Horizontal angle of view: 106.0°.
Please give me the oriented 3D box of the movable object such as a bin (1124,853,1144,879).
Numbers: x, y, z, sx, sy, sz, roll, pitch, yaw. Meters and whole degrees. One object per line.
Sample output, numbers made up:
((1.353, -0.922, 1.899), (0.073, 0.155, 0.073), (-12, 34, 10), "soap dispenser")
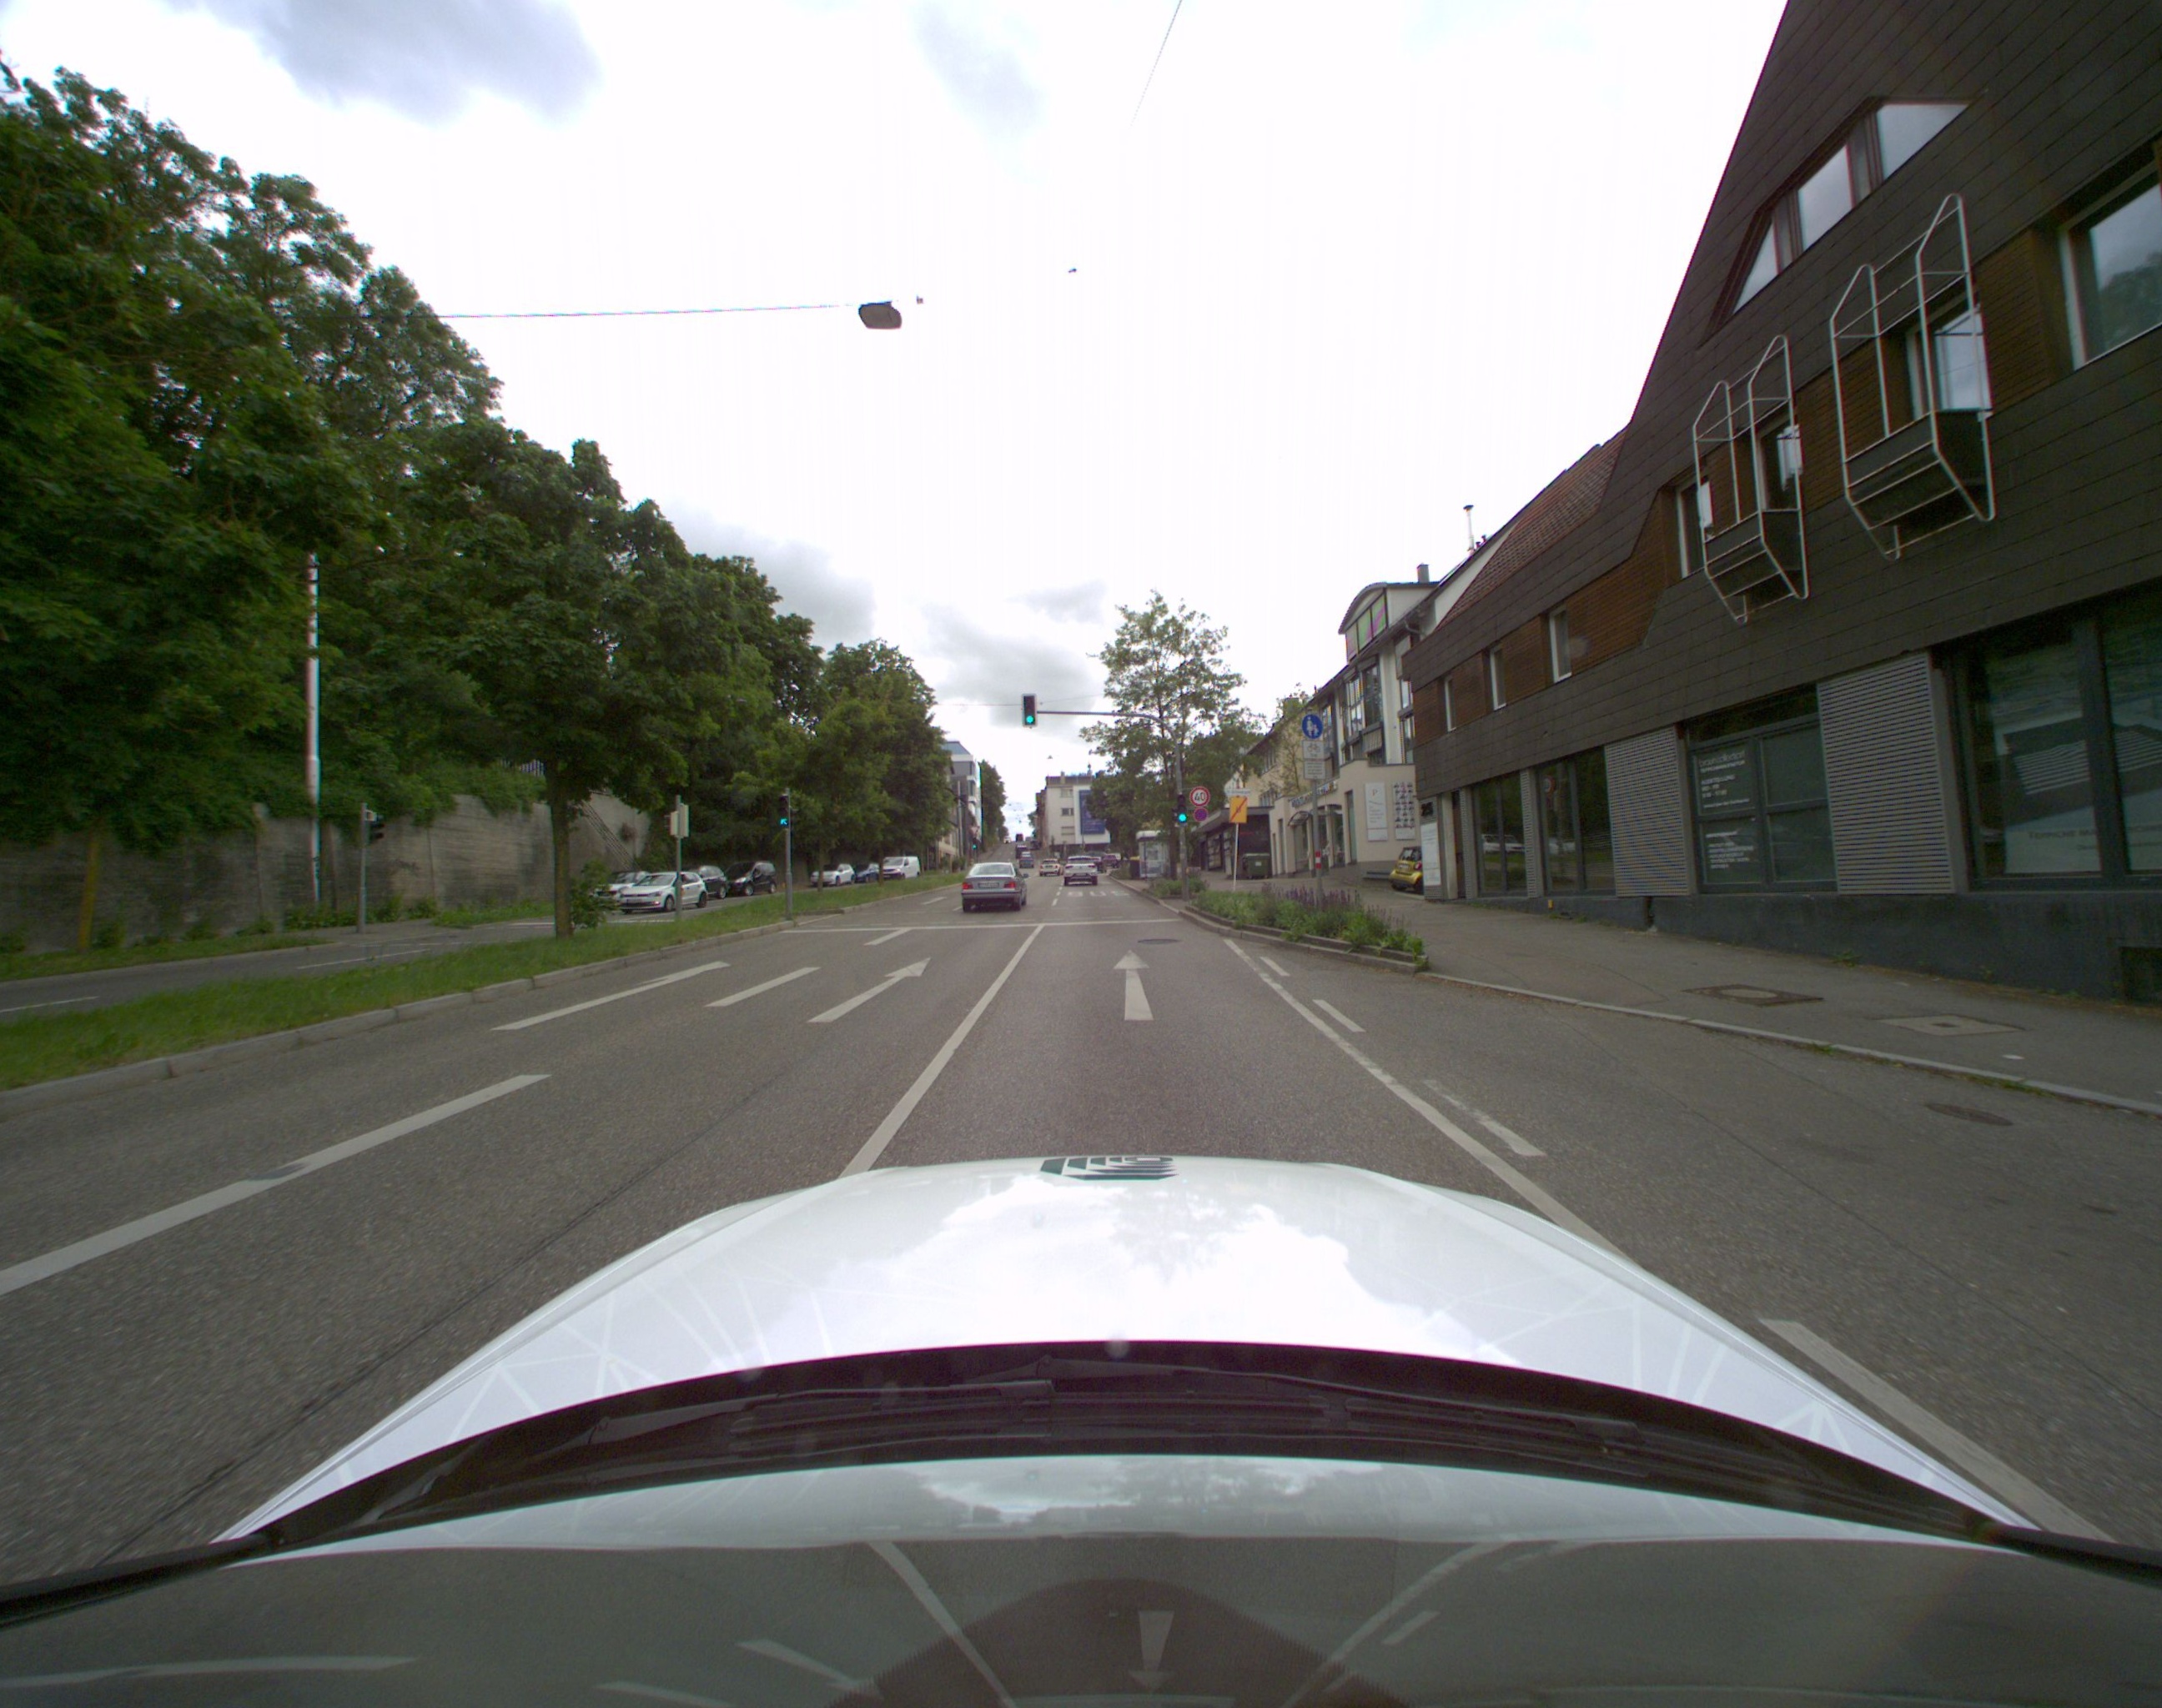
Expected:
((3.143, 0.697, 48.340), (1.082, 1.481, 1.537), (-2, 0, 1), "movable object such as a bin")

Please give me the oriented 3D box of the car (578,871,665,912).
((-18.524, 1.480, 32.994), (1.775, 1.498, 3.096), (-1, 0, -1), "car")

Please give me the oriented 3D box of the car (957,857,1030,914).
((-2.476, 0.845, 23.963), (1.701, 1.464, 3.999), (-1, 0, 0), "car")

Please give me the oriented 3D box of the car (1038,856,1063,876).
((-2.555, 0.976, 69.599), (1.773, 1.579, 4.002), (-1, 0, 2), "car")

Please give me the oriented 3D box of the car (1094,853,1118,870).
((2.314, 0.664, 74.966), (1.785, 1.409, 4.008), (-1, 0, 7), "car")

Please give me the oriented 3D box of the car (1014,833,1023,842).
((-15.515, -4.048, 202.472), (1.990, 2.013, 3.994), (-1, 0, -4), "car")

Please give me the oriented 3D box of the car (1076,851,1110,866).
((1.718, 0.642, 115.806), (4.679, 1.712, 2.316), (2, 3, -4), "car")

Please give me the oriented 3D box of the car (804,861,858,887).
((-16.987, 1.355, 55.486), (1.769, 1.629, 4.182), (-1, 0, 10), "car")

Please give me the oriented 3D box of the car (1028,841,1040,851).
((-8.639, -1.491, 150.421), (2.085, 1.613, 3.996), (-2, 0, -3), "car")

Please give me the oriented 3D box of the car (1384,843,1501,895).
((11.715, 0.466, 26.492), (2.987, 1.464, 1.663), (4, 1, -7), "car")

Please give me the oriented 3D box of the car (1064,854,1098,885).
((-0.034, 0.809, 44.161), (1.775, 1.579, 3.998), (-1, 0, -1), "car")

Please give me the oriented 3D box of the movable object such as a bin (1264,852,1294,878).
((10.977, 0.605, 45.179), (1.335, 1.409, 1.128), (-2, 0, 1), "movable object such as a bin")

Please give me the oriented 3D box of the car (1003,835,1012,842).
((-17.162, -3.635, 190.669), (1.879, 1.567, 4.383), (-2, 3, -4), "car")

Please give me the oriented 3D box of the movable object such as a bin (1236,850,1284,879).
((9.919, 0.559, 45.497), (1.881, 1.452, 4.002), (-2, 0, 2), "movable object such as a bin")

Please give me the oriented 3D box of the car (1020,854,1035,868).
((-6.690, 0.855, 102.024), (1.776, 1.579, 3.994), (-1, 0, -4), "car")

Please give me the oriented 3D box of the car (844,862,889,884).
((-16.153, 1.409, 61.613), (1.702, 1.528, 4.311), (-1, 0, 8), "car")

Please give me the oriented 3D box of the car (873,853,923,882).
((-13.259, 0.921, 59.326), (1.928, 1.957, 5.031), (-1, 0, 6), "car")

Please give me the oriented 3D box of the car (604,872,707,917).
((-15.553, 1.435, 29.982), (1.723, 1.428, 3.790), (-1, 0, 0), "car")

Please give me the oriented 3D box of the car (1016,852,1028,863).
((-8.966, 0.527, 124.008), (1.776, 1.579, 3.994), (-1, 0, -4), "car")

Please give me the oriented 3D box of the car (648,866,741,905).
((-18.099, 1.433, 38.397), (1.961, 1.657, 4.537), (-1, 0, 4), "car")

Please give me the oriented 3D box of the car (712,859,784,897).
((-17.666, 1.234, 43.497), (1.772, 1.843, 4.492), (-1, 0, 3), "car")
